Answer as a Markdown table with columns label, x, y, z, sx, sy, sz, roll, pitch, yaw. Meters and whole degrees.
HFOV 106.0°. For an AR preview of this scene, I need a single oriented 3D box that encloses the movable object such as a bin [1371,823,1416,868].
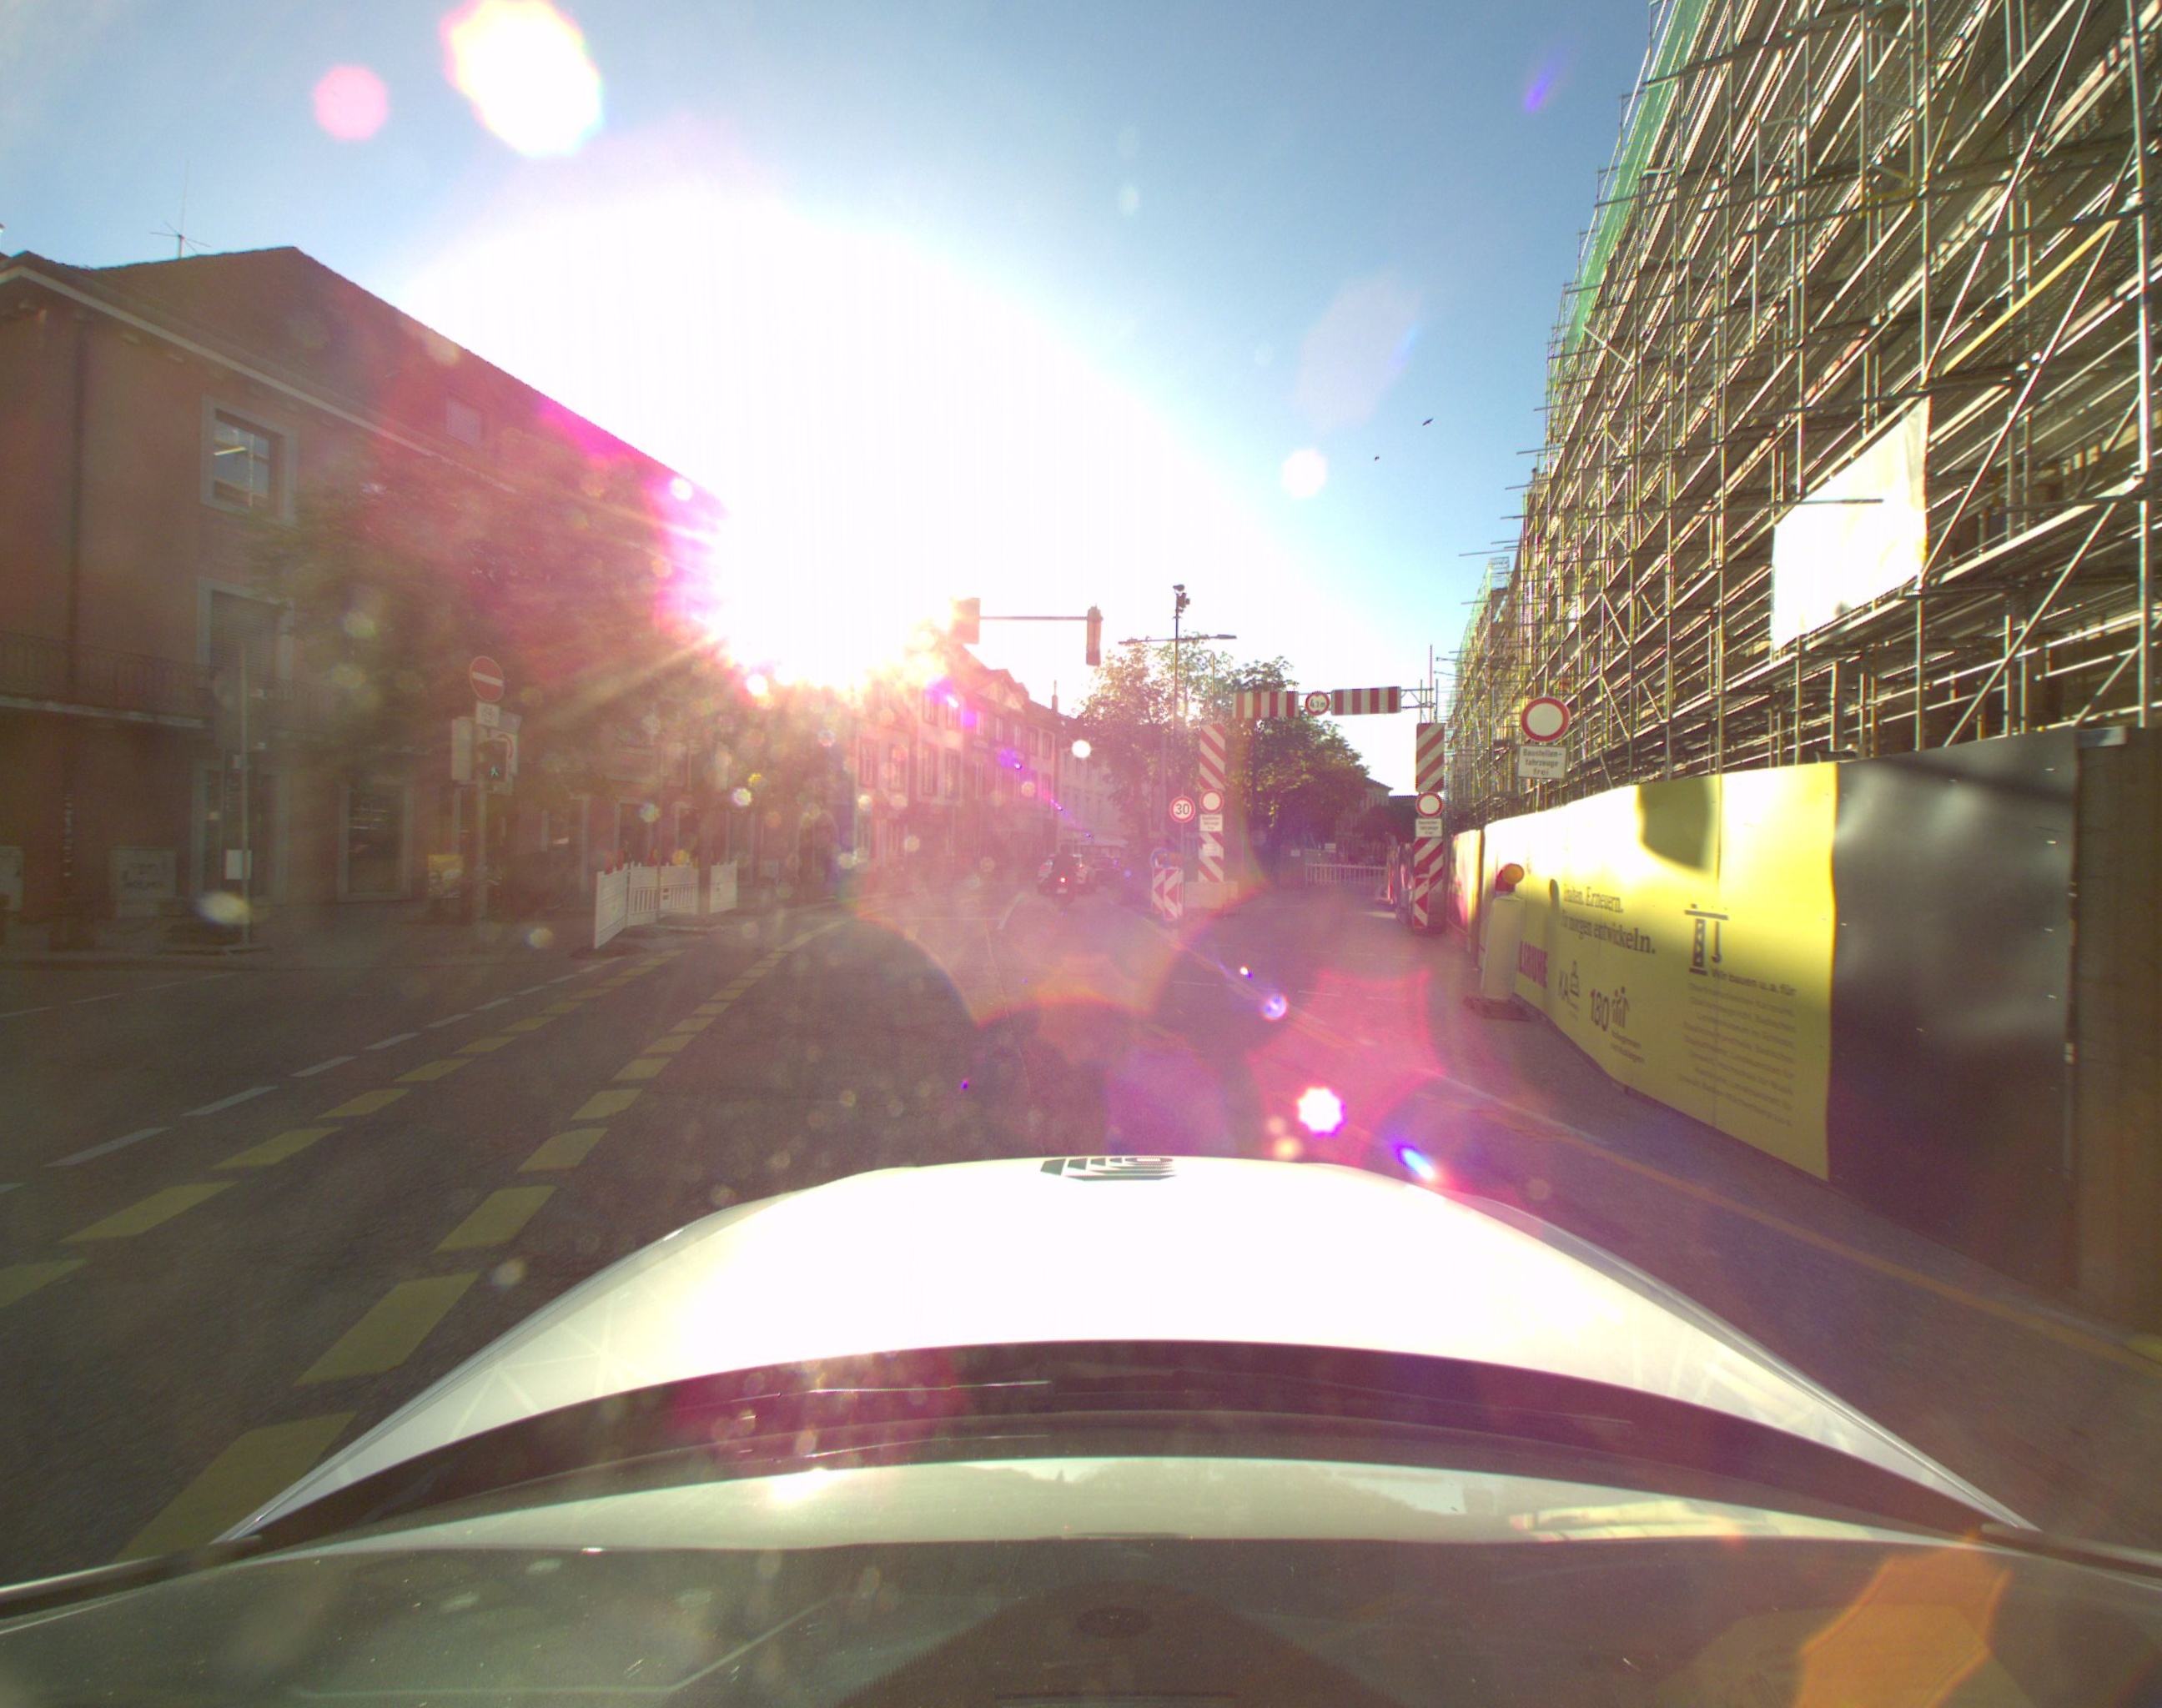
| label | x | y | z | sx | sy | sz | roll | pitch | yaw |
| --- | --- | --- | --- | --- | --- | --- | --- | --- | --- |
| movable object such as a bin | 33.107 | -0.792 | 86.049 | 3.275 | 4.539 | 7.953 | -1 | -1 | 30 |

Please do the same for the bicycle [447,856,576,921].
| label | x | y | z | sx | sy | sz | roll | pitch | yaw |
| --- | --- | --- | --- | --- | --- | --- | --- | --- | --- |
| bicycle | -11.286 | 0.662 | 16.221 | 2.010 | 1.206 | 0.677 | -1 | -1 | -28 |

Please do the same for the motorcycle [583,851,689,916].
| label | x | y | z | sx | sy | sz | roll | pitch | yaw |
| --- | --- | --- | --- | --- | --- | --- | --- | --- | --- |
| motorcycle | -9.524 | 0.588 | 17.564 | 0.808 | 1.317 | 2.341 | 0 | 0 | 5 |

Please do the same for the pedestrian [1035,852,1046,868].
| label | x | y | z | sx | sy | sz | roll | pitch | yaw |
| --- | --- | --- | --- | --- | --- | --- | --- | --- | --- |
| pedestrian | -2.740 | 0.395 | 55.348 | 0.532 | 1.053 | 0.554 | 1 | 0 | 17 |

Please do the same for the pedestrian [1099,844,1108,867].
| label | x | y | z | sx | sy | sz | roll | pitch | yaw |
| --- | --- | --- | --- | --- | --- | --- | --- | --- | --- |
| pedestrian | 1.819 | 0.111 | 65.026 | 0.433 | 1.775 | 0.601 | 0 | -1 | 34 |

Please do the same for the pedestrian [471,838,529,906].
| label | x | y | z | sx | sy | sz | roll | pitch | yaw |
| --- | --- | --- | --- | --- | --- | --- | --- | --- | --- |
| pedestrian | -14.846 | 0.454 | 20.834 | 0.785 | 1.688 | 0.873 | 2 | 0 | 18 |

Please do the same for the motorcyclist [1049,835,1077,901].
| label | x | y | z | sx | sy | sz | roll | pitch | yaw |
| --- | --- | --- | --- | --- | --- | --- | --- | --- | --- |
| motorcyclist | -0.455 | 0.346 | 20.844 | 0.655 | 1.650 | 0.650 | 1 | 0 | 0 |

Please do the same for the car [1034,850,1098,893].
| label | x | y | z | sx | sy | sz | roll | pitch | yaw |
| --- | --- | --- | --- | --- | --- | --- | --- | --- | --- |
| car | -0.482 | 0.611 | 30.525 | 1.841 | 1.480 | 4.065 | 1 | 0 | 7 |

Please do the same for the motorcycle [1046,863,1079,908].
| label | x | y | z | sx | sy | sz | roll | pitch | yaw |
| --- | --- | --- | --- | --- | --- | --- | --- | --- | --- |
| motorcycle | -0.454 | 0.774 | 20.659 | 0.794 | 1.066 | 1.725 | 1 | 0 | 0 |

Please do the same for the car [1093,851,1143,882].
| label | x | y | z | sx | sy | sz | roll | pitch | yaw |
| --- | --- | --- | --- | --- | --- | --- | --- | --- | --- |
| car | 1.931 | 0.614 | 41.572 | 1.828 | 1.463 | 4.071 | 1 | 0 | 12 |

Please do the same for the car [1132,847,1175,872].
| label | x | y | z | sx | sy | sz | roll | pitch | yaw |
| --- | --- | --- | --- | --- | --- | --- | --- | --- | --- |
| car | 5.169 | 0.375 | 57.868 | 1.824 | 1.713 | 4.079 | 1 | 0 | 23 |
